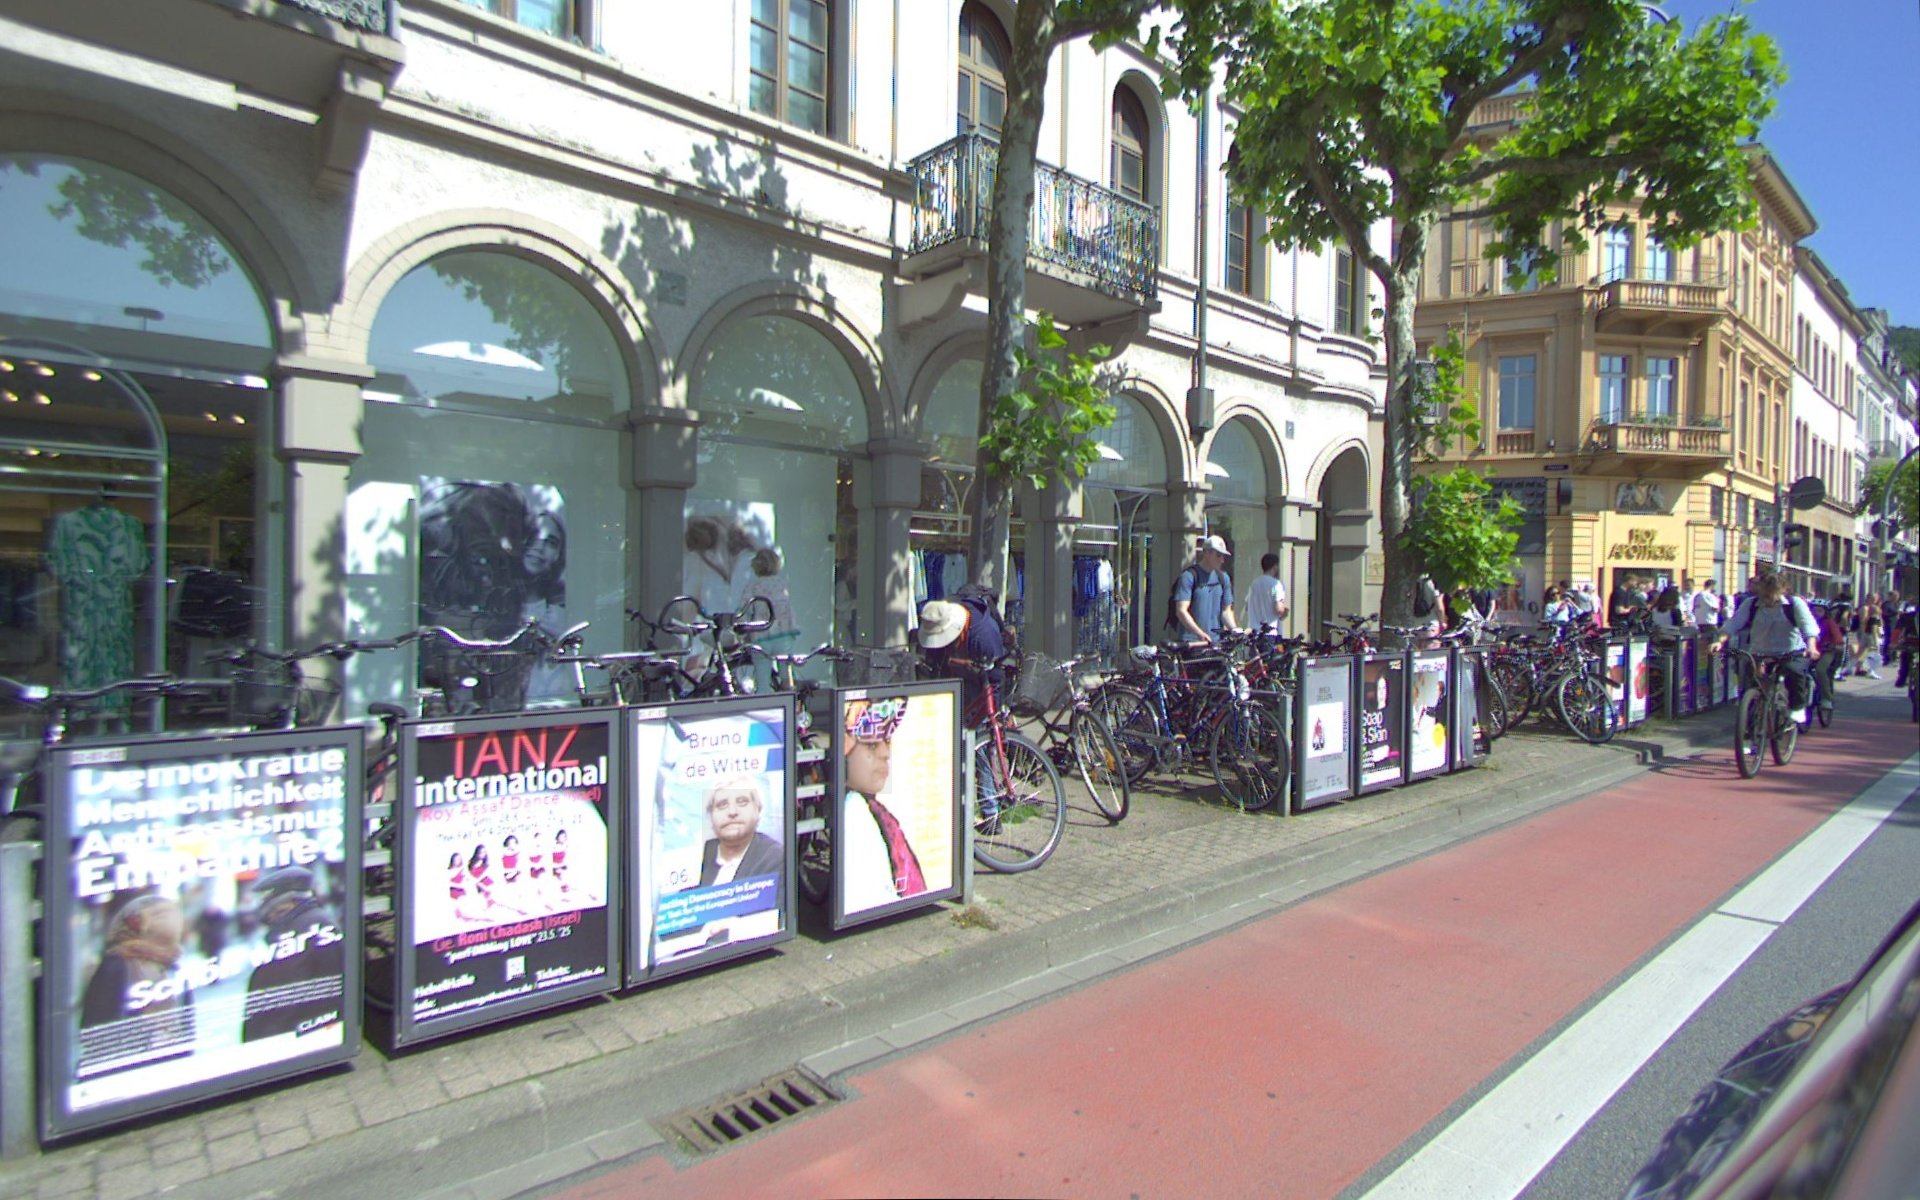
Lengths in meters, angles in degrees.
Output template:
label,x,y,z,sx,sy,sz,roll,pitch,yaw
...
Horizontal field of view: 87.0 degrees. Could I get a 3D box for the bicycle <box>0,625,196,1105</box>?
label,x,y,z,sx,sy,sz,roll,pitch,yaw
bicycle,-2.930,0.699,3.345,0.475,1.161,1.755,0,1,-43

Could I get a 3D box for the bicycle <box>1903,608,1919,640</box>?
label,x,y,z,sx,sy,sz,roll,pitch,yaw
bicycle,35.458,0.881,36.747,0.582,1.161,1.755,0,1,-43

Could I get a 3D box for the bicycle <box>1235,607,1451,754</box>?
label,x,y,z,sx,sy,sz,roll,pitch,yaw
bicycle,3.418,0.666,9.161,0.582,1.161,1.755,0,1,-43

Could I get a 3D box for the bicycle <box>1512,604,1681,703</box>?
label,x,y,z,sx,sy,sz,roll,pitch,yaw
bicycle,8.197,0.650,13.095,0.582,1.161,1.755,0,1,-43

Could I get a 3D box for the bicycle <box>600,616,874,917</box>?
label,x,y,z,sx,sy,sz,roll,pitch,yaw
bicycle,-1.147,0.689,4.905,0.475,1.161,1.755,0,1,-43

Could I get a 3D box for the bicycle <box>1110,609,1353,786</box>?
label,x,y,z,sx,sy,sz,roll,pitch,yaw
bicycle,2.021,0.671,7.731,0.582,1.161,1.755,0,1,-43

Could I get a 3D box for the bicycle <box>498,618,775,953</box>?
label,x,y,z,sx,sy,sz,roll,pitch,yaw
bicycle,-1.504,0.690,4.498,0.475,1.161,1.755,0,1,-43

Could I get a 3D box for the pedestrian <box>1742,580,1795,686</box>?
label,x,y,z,sx,sy,sz,roll,pitch,yaw
pedestrian,13.276,0.531,16.622,0.612,1.706,0.577,0,-1,-44

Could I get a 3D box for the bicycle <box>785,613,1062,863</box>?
label,x,y,z,sx,sy,sz,roll,pitch,yaw
bicycle,-0.269,0.684,5.778,0.582,1.161,1.755,0,1,-43

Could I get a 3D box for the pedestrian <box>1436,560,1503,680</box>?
label,x,y,z,sx,sy,sz,roll,pitch,yaw
pedestrian,7.743,0.292,15.386,0.741,1.762,0.675,0,-1,-43

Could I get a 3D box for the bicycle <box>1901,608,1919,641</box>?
label,x,y,z,sx,sy,sz,roll,pitch,yaw
bicycle,34.843,0.895,36.174,0.582,1.161,1.755,0,1,-43

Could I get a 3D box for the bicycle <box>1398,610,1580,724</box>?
label,x,y,z,sx,sy,sz,roll,pitch,yaw
bicycle,6.011,0.718,11.576,0.582,1.161,1.755,0,1,-43

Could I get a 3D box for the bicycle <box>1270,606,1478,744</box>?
label,x,y,z,sx,sy,sz,roll,pitch,yaw
bicycle,3.903,0.661,9.652,0.582,1.161,1.755,0,1,-43

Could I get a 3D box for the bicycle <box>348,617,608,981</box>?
label,x,y,z,sx,sy,sz,roll,pitch,yaw
bicycle,-2.056,0.677,4.186,0.475,1.161,1.755,0,1,-43

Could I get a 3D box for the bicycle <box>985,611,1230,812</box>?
label,x,y,z,sx,sy,sz,roll,pitch,yaw
bicycle,0.948,0.677,6.875,0.510,1.161,1.705,0,1,-43

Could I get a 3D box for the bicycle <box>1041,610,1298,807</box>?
label,x,y,z,sx,sy,sz,roll,pitch,yaw
bicycle,1.409,0.678,7.080,0.582,1.161,1.755,0,1,-43

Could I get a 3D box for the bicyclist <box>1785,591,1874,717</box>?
label,x,y,z,sx,sy,sz,roll,pitch,yaw
bicyclist,10.176,0.607,11.841,0.765,1.414,0.689,0,-1,-43

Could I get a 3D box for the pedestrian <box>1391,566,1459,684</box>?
label,x,y,z,sx,sy,sz,roll,pitch,yaw
pedestrian,7.351,0.383,15.999,0.764,1.805,0.720,0,-1,-43

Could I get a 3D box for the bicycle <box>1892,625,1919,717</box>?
label,x,y,z,sx,sy,sz,roll,pitch,yaw
bicycle,12.759,0.904,13.272,1.866,1.107,0.666,0,-1,-44

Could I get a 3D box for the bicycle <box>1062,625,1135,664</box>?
label,x,y,z,sx,sy,sz,roll,pitch,yaw
bicycle,3.769,1.200,27.640,1.996,0.989,0.493,-1,-1,39

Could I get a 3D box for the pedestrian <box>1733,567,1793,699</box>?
label,x,y,z,sx,sy,sz,roll,pitch,yaw
pedestrian,11.768,0.473,14.834,0.706,1.869,0.577,0,-1,-44

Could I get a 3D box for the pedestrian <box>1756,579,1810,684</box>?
label,x,y,z,sx,sy,sz,roll,pitch,yaw
pedestrian,13.783,0.512,16.948,0.581,1.705,0.568,0,2,-44

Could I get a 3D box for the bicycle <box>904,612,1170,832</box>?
label,x,y,z,sx,sy,sz,roll,pitch,yaw
bicycle,0.431,0.680,6.412,0.582,1.161,1.755,0,1,-43

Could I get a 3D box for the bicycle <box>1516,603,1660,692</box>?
label,x,y,z,sx,sy,sz,roll,pitch,yaw
bicycle,8.818,0.635,14.259,0.514,1.161,1.658,0,1,-43

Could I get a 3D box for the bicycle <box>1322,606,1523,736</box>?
label,x,y,z,sx,sy,sz,roll,pitch,yaw
bicycle,4.612,0.657,10.186,0.588,1.161,1.755,0,1,-43

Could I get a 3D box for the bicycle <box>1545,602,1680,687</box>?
label,x,y,z,sx,sy,sz,roll,pitch,yaw
bicycle,9.604,0.631,14.940,0.418,1.161,1.630,0,1,-43

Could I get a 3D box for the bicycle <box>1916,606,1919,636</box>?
label,x,y,z,sx,sy,sz,roll,pitch,yaw
bicycle,37.937,0.832,38.869,0.582,1.161,1.755,0,1,-43

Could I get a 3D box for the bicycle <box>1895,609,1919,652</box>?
label,x,y,z,sx,sy,sz,roll,pitch,yaw
bicycle,26.950,0.865,28.393,0.732,1.106,1.874,5,4,35

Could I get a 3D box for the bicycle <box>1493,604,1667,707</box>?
label,x,y,z,sx,sy,sz,roll,pitch,yaw
bicycle,7.694,0.652,12.618,0.582,1.161,1.755,0,1,-43

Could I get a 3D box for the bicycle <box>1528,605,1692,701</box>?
label,x,y,z,sx,sy,sz,roll,pitch,yaw
bicycle,8.644,0.666,13.514,0.582,1.161,1.755,0,1,-43

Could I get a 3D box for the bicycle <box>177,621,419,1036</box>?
label,x,y,z,sx,sy,sz,roll,pitch,yaw
bicycle,-2.537,0.691,3.791,0.475,1.161,1.755,0,1,-43

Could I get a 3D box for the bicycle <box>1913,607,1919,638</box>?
label,x,y,z,sx,sy,sz,roll,pitch,yaw
bicycle,37.389,0.867,38.388,0.582,1.161,1.755,0,1,-43

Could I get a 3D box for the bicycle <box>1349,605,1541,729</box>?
label,x,y,z,sx,sy,sz,roll,pitch,yaw
bicycle,5.054,0.655,10.643,0.509,1.161,1.755,0,1,-43

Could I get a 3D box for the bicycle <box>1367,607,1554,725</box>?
label,x,y,z,sx,sy,sz,roll,pitch,yaw
bicycle,5.461,0.677,11.126,0.582,1.161,1.755,0,1,-43

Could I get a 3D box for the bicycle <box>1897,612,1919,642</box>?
label,x,y,z,sx,sy,sz,roll,pitch,yaw
bicycle,33.989,0.956,35.387,0.582,1.048,1.755,0,1,-43

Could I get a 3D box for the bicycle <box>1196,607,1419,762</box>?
label,x,y,z,sx,sy,sz,roll,pitch,yaw
bicycle,2.954,0.666,8.749,0.582,1.161,1.755,0,1,-43

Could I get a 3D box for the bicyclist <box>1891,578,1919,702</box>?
label,x,y,z,sx,sy,sz,roll,pitch,yaw
bicyclist,12.731,0.511,13.289,0.765,1.597,0.688,0,-1,-44

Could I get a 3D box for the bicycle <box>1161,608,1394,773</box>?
label,x,y,z,sx,sy,sz,roll,pitch,yaw
bicycle,2.534,0.668,8.249,0.582,1.161,1.755,0,1,-43

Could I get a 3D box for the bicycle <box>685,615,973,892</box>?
label,x,y,z,sx,sy,sz,roll,pitch,yaw
bicycle,-0.748,0.686,5.289,0.582,1.161,1.755,0,1,-43

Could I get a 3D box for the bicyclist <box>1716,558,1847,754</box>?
label,x,y,z,sx,sy,sz,roll,pitch,yaw
bicyclist,7.127,0.458,8.781,0.765,1.597,0.749,0,-1,-42

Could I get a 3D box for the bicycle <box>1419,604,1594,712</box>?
label,x,y,z,sx,sy,sz,roll,pitch,yaw
bicycle,6.512,0.648,12.131,0.582,1.161,1.755,0,1,-43

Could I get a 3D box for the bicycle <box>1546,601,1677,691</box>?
label,x,y,z,sx,sy,sz,roll,pitch,yaw
bicycle,9.346,0.634,14.566,0.418,1.212,1.531,0,1,-43

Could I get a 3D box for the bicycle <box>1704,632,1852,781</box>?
label,x,y,z,sx,sy,sz,roll,pitch,yaw
bicycle,7.160,0.859,8.824,1.866,1.107,0.735,0,-1,-43

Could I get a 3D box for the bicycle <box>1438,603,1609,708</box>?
label,x,y,z,sx,sy,sz,roll,pitch,yaw
bicycle,6.941,0.646,12.538,0.582,1.173,1.755,0,1,-43

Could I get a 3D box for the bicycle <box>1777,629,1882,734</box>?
label,x,y,z,sx,sy,sz,roll,pitch,yaw
bicycle,10.206,0.909,11.862,1.788,1.107,0.735,1,-1,-43
